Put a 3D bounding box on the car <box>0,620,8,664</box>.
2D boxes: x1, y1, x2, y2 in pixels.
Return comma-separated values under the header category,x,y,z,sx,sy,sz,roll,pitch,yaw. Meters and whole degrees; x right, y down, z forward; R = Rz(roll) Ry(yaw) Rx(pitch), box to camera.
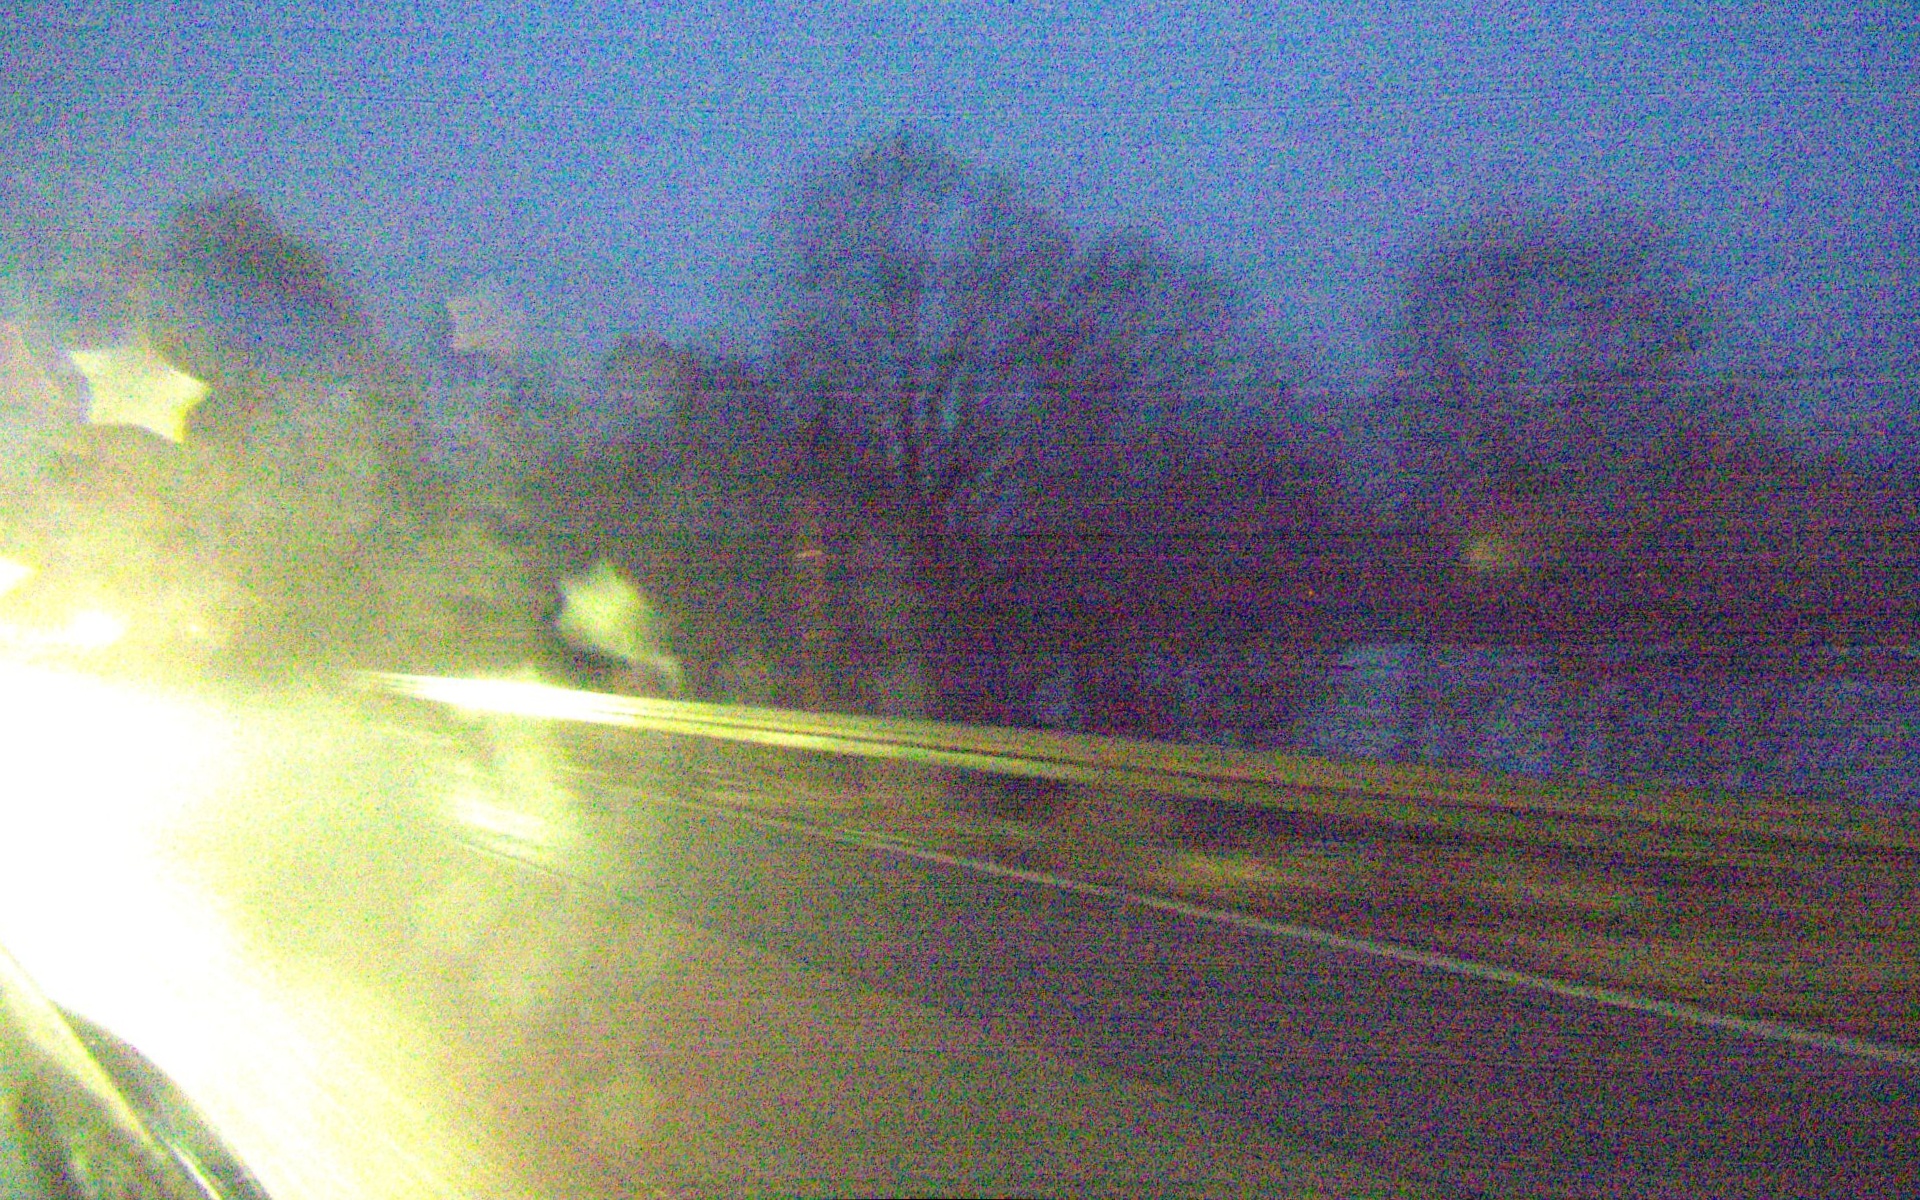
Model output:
category,x,y,z,sx,sy,sz,roll,pitch,yaw
car,-46.129,1.982,47.469,4.458,2.029,1.971,-2,-3,45
